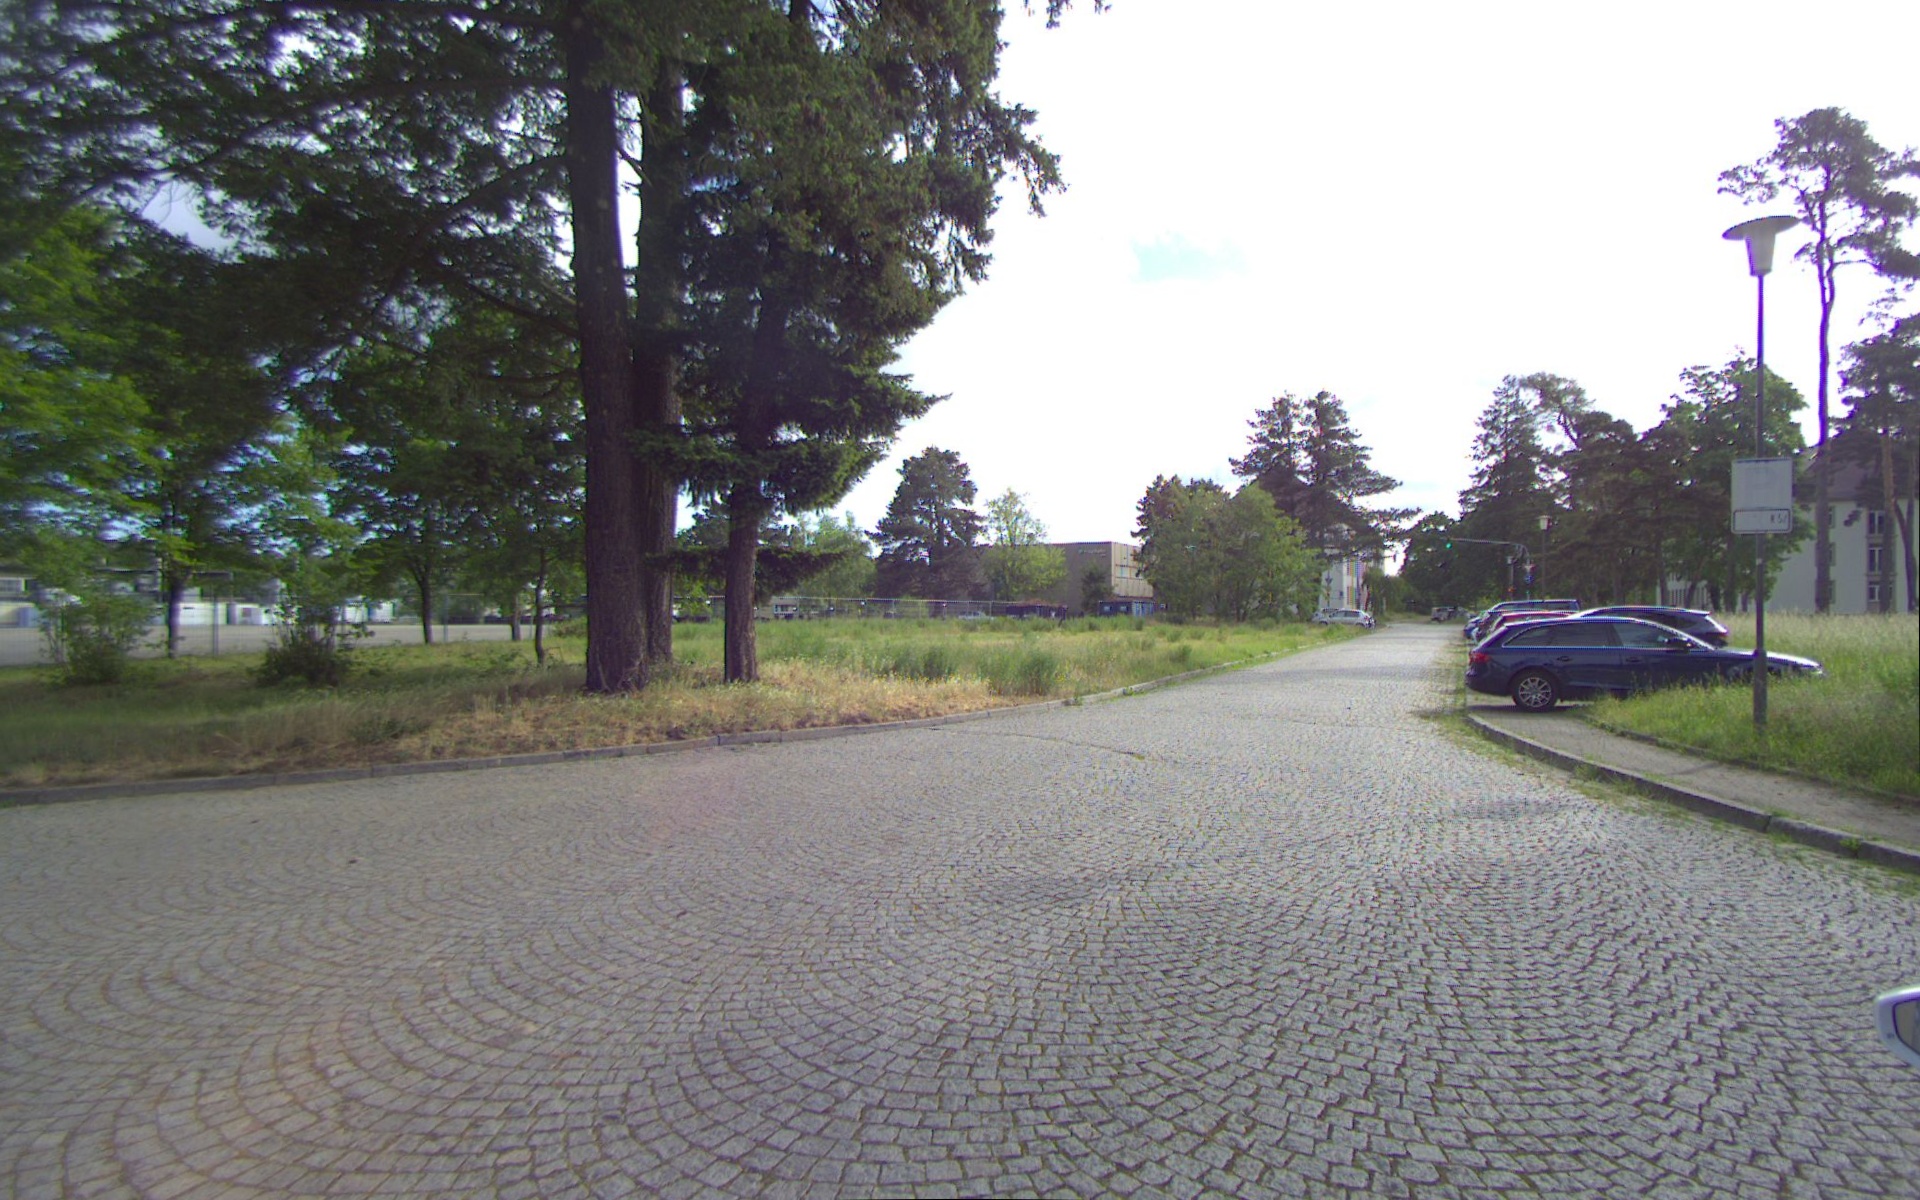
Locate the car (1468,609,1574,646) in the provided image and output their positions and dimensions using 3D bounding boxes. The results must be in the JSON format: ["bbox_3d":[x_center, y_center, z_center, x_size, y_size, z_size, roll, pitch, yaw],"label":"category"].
[{"bbox_3d":[24.405,1.201,43.858,3.860,1.411,1.741,-4,-1,26],"label":"car"}]

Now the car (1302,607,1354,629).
[{"bbox_3d":[28.071,1.380,76.635,3.659,1.457,1.626,-3,-1,20],"label":"car"}]

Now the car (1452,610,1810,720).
[{"bbox_3d":[10.110,0.941,15.525,4.368,1.499,1.678,-1,-1,31],"label":"car"}]

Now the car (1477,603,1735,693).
[{"bbox_3d":[12.490,0.897,19.765,4.074,1.594,1.788,-1,0,26],"label":"car"}]

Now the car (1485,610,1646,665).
[{"bbox_3d":[17.338,1.077,28.975,3.825,1.498,1.670,-2,-1,27],"label":"car"}]

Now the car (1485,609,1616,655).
[{"bbox_3d":[20.924,1.134,35.775,3.881,1.540,1.705,-1,-1,28],"label":"car"}]

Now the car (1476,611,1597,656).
[{"bbox_3d":[21.828,1.231,38.188,3.844,1.625,1.819,0,-1,25],"label":"car"}]

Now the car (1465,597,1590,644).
[{"bbox_3d":[25.935,0.953,46.109,4.747,1.890,2.159,-4,-1,26],"label":"car"}]

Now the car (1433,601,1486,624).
[{"bbox_3d":[63.900,1.590,128.588,5.688,2.596,2.769,-3,-1,22],"label":"car"}]

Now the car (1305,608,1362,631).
[{"bbox_3d":[26.493,1.400,71.186,3.661,1.457,1.625,-3,0,24],"label":"car"}]
